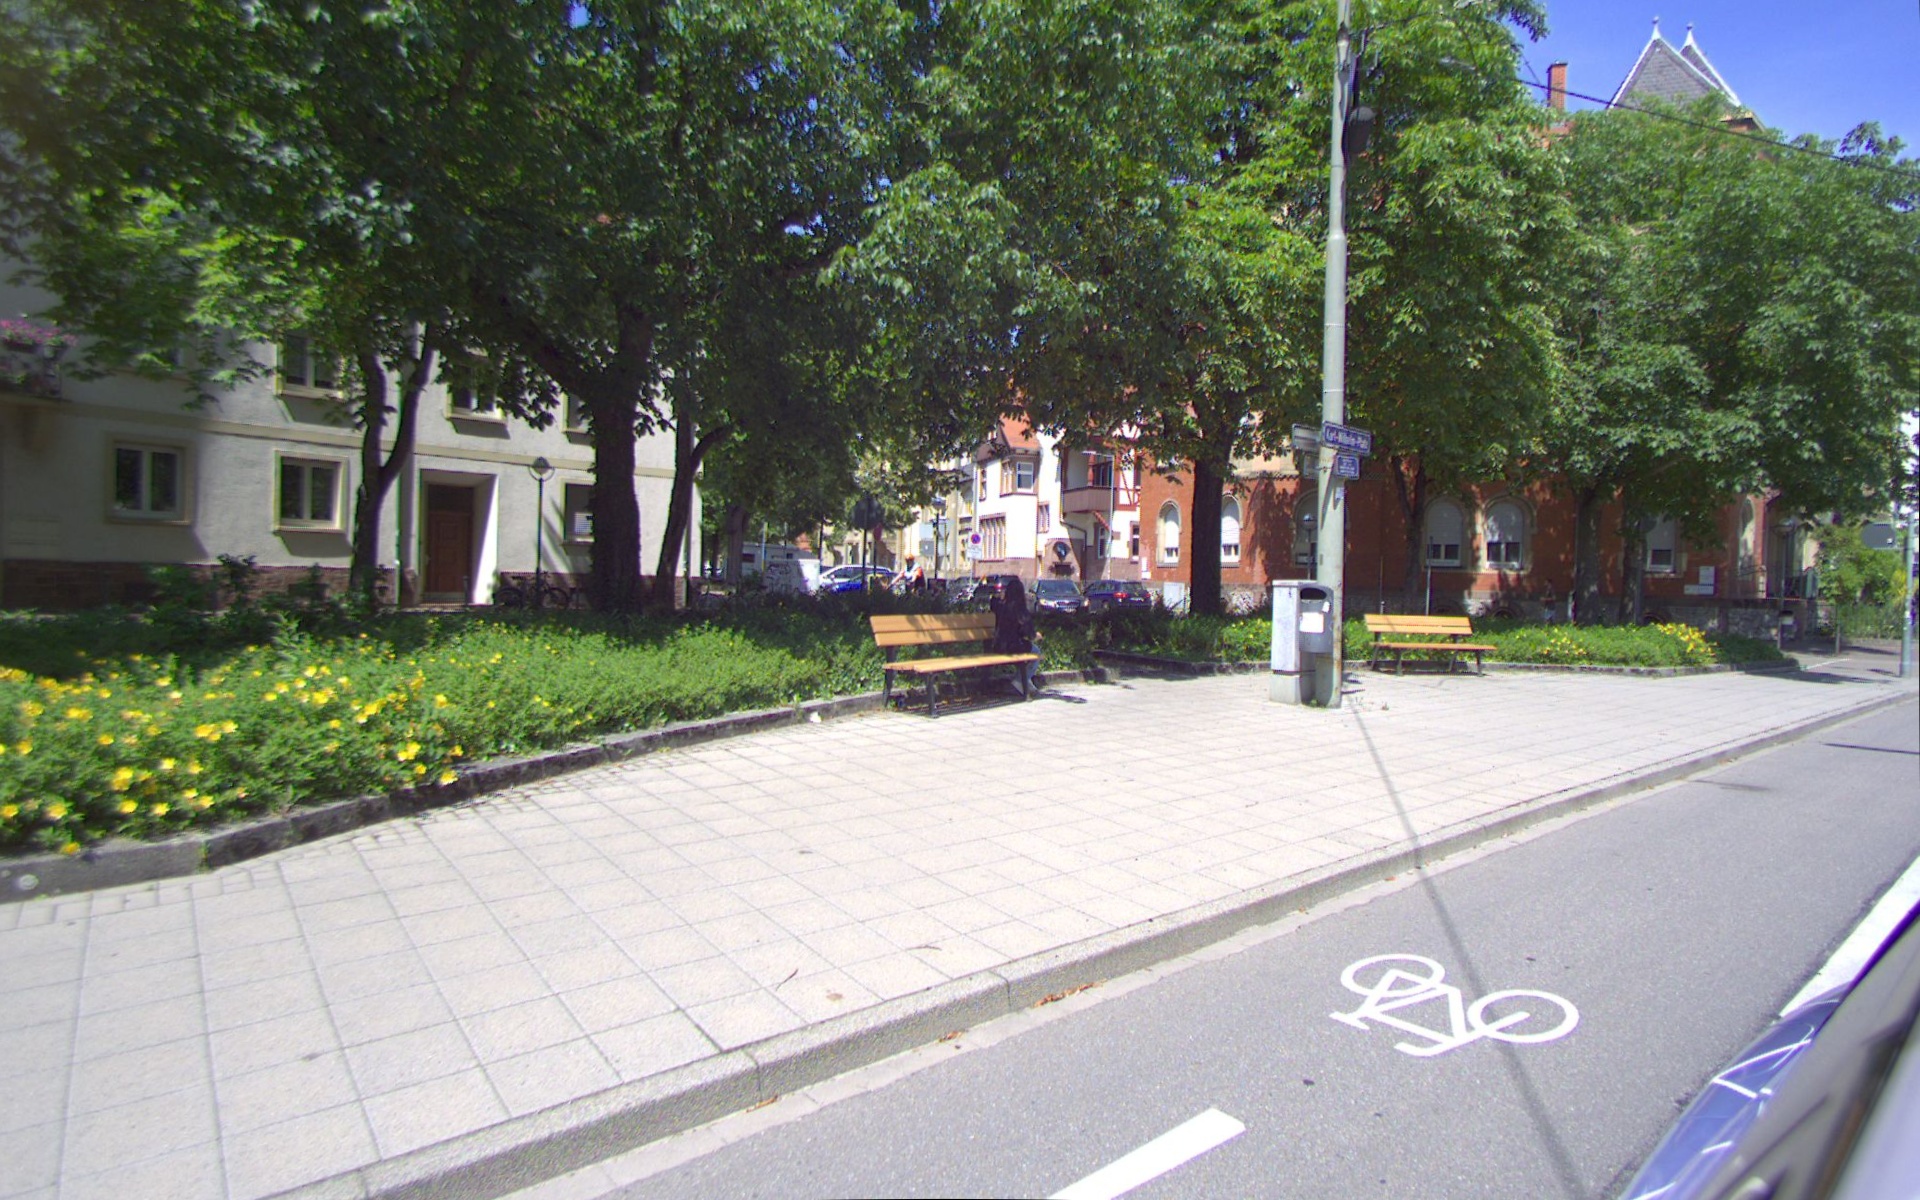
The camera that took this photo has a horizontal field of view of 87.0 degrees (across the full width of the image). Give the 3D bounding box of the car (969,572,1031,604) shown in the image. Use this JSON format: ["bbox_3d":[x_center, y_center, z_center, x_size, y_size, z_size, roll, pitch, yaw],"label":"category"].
[{"bbox_3d":[2.071,-0.622,54.078,1.897,1.638,4.318,0,0,-19],"label":"car"}]

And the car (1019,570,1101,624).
[{"bbox_3d":[3.190,-0.120,33.111,1.900,1.638,4.529,0,0,-4],"label":"car"}]

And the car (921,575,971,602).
[{"bbox_3d":[-0.914,-0.694,63.255,1.897,1.638,4.318,0,0,-19],"label":"car"}]

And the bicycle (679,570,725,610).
[{"bbox_3d":[-6.770,-0.260,26.478,0.736,1.024,2.273,0,0,-26],"label":"bicycle"}]

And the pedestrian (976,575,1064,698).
[{"bbox_3d":[0.604,0.338,10.077,0.562,1.156,0.718,3,2,33],"label":"pedestrian"}]

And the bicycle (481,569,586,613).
[{"bbox_3d":[-10.247,-0.223,24.378,2.230,1.024,0.751,-1,0,-41],"label":"bicycle"}]

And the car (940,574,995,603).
[{"bbox_3d":[0.384,-0.657,58.685,1.897,1.638,4.318,0,0,-19],"label":"car"}]

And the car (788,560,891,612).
[{"bbox_3d":[-5.367,-0.631,44.831,4.219,2.219,1.942,0,0,-18],"label":"car"}]

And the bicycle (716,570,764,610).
[{"bbox_3d":[-5.863,-0.269,26.907,0.736,1.024,2.273,0,0,-26],"label":"bicycle"}]

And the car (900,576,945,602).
[{"bbox_3d":[-2.562,-0.731,67.952,1.897,1.638,4.318,0,0,-19],"label":"car"}]

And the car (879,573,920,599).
[{"bbox_3d":[-4.498,-1.011,74.464,1.897,1.897,4.318,0,0,-19],"label":"car"}]

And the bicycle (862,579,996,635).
[{"bbox_3d":[-0.688,0.135,24.611,0.952,1.279,3.687,0,0,43],"label":"bicycle"}]

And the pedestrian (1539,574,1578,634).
[{"bbox_3d":[18.678,0.117,31.596,0.826,1.846,0.671,2,1,12],"label":"pedestrian"}]

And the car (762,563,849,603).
[{"bbox_3d":[-8.080,-0.886,52.941,4.219,2.029,1.942,0,0,-18],"label":"car"}]

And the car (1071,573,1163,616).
[{"bbox_3d":[6.280,-0.233,41.029,1.897,1.638,4.318,0,0,-19],"label":"car"}]

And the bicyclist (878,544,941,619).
[{"bbox_3d":[-1.200,-0.434,24.017,0.871,1.717,1.234,0,0,44],"label":"bicyclist"}]

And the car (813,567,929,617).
[{"bbox_3d":[-3.539,-0.324,40.019,4.219,1.903,1.942,0,0,-18],"label":"car"}]
